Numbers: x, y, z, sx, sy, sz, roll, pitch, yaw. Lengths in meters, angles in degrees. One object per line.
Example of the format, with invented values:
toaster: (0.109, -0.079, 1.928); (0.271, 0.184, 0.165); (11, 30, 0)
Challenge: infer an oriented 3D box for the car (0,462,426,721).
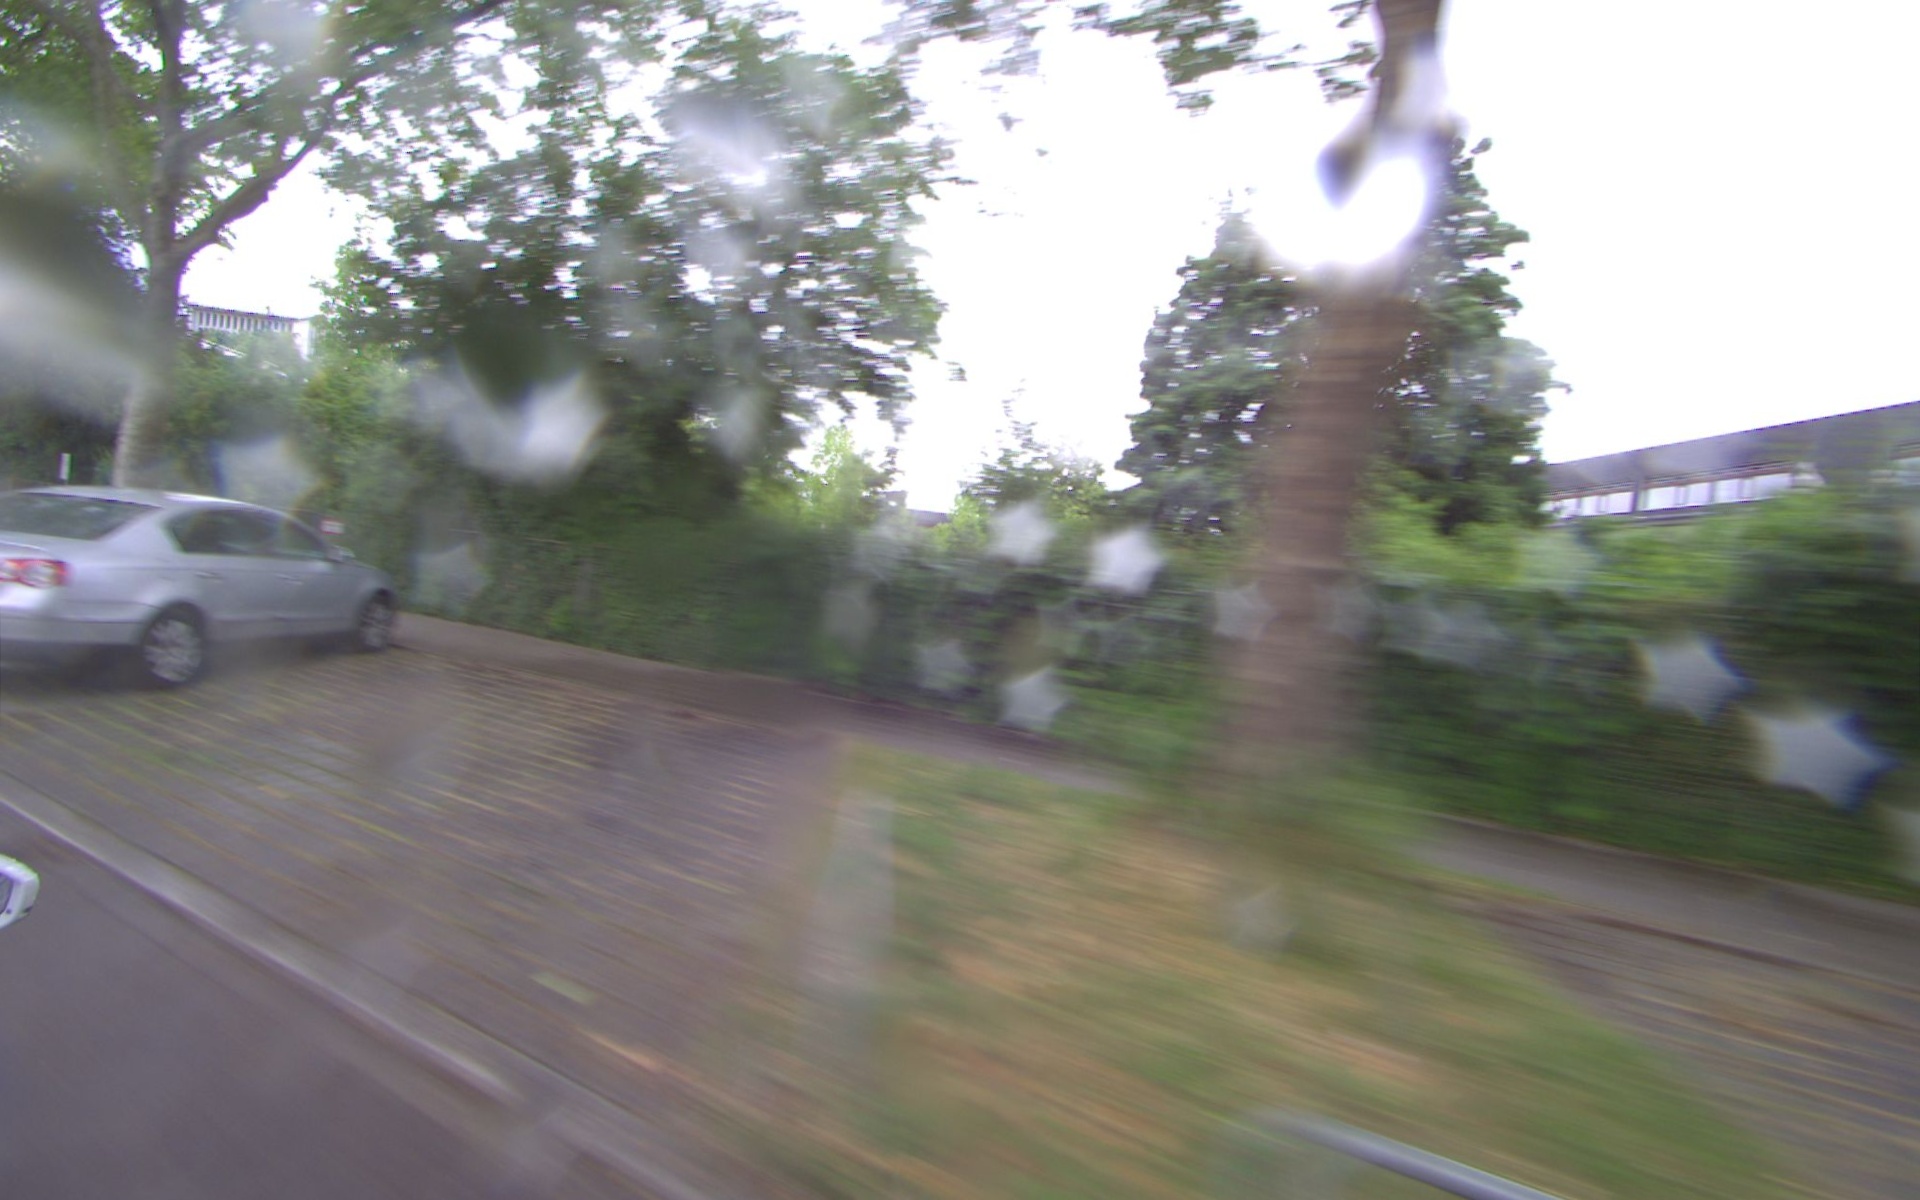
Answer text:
car: (-6.754, -0.240, 8.629); (1.853, 1.566, 4.553); (7, 3, -1)
